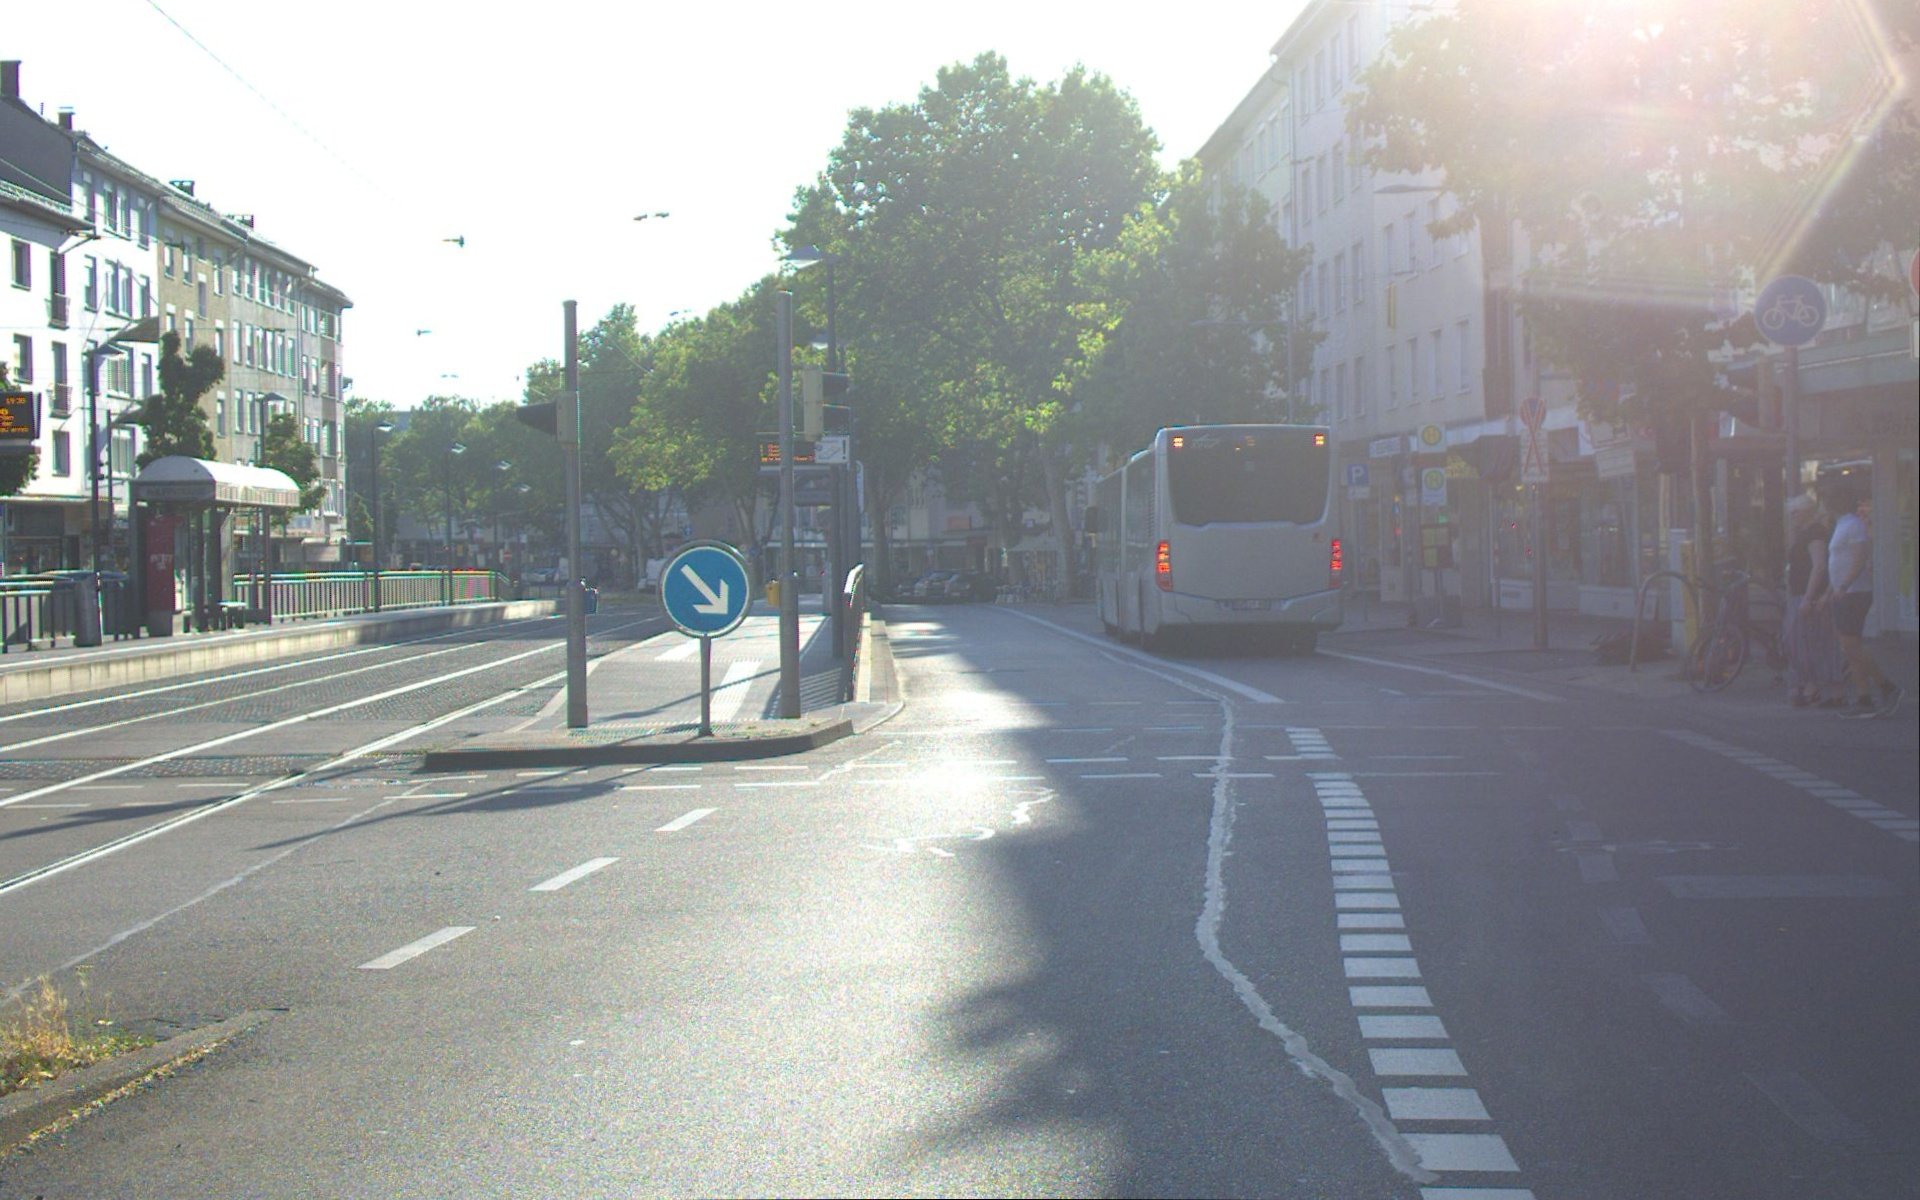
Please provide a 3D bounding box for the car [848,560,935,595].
[{"bbox_3d":[-3.316,-1.116,166.679,3.889,1.591,1.691,-2,1,-29],"label":"car"}]

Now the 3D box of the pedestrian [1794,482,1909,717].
[{"bbox_3d":[6.815,-0.012,26.302,0.680,1.764,0.687,-1,1,0],"label":"pedestrian"}]

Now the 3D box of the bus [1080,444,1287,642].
[{"bbox_3d":[3.701,-0.967,59.081,2.812,3.091,9.095,1,1,-1],"label":"bus"}]

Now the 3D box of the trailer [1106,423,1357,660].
[{"bbox_3d":[3.796,-0.845,50.136,2.812,3.099,8.795,1,1,-1],"label":"trailer"}]

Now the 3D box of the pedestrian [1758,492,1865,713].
[{"bbox_3d":[6.915,0.010,27.951,0.680,1.764,0.687,-1,1,0],"label":"pedestrian"}]

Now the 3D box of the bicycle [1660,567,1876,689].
[{"bbox_3d":[7.394,0.251,31.495,1.772,1.018,0.694,-2,1,-1],"label":"bicycle"}]

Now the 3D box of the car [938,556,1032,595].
[{"bbox_3d":[1.158,-1.134,158.692,3.889,1.693,1.833,-2,1,-29],"label":"car"}]

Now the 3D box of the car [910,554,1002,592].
[{"bbox_3d":[-0.171,-1.264,161.615,3.889,1.693,1.833,-2,1,-29],"label":"car"}]
